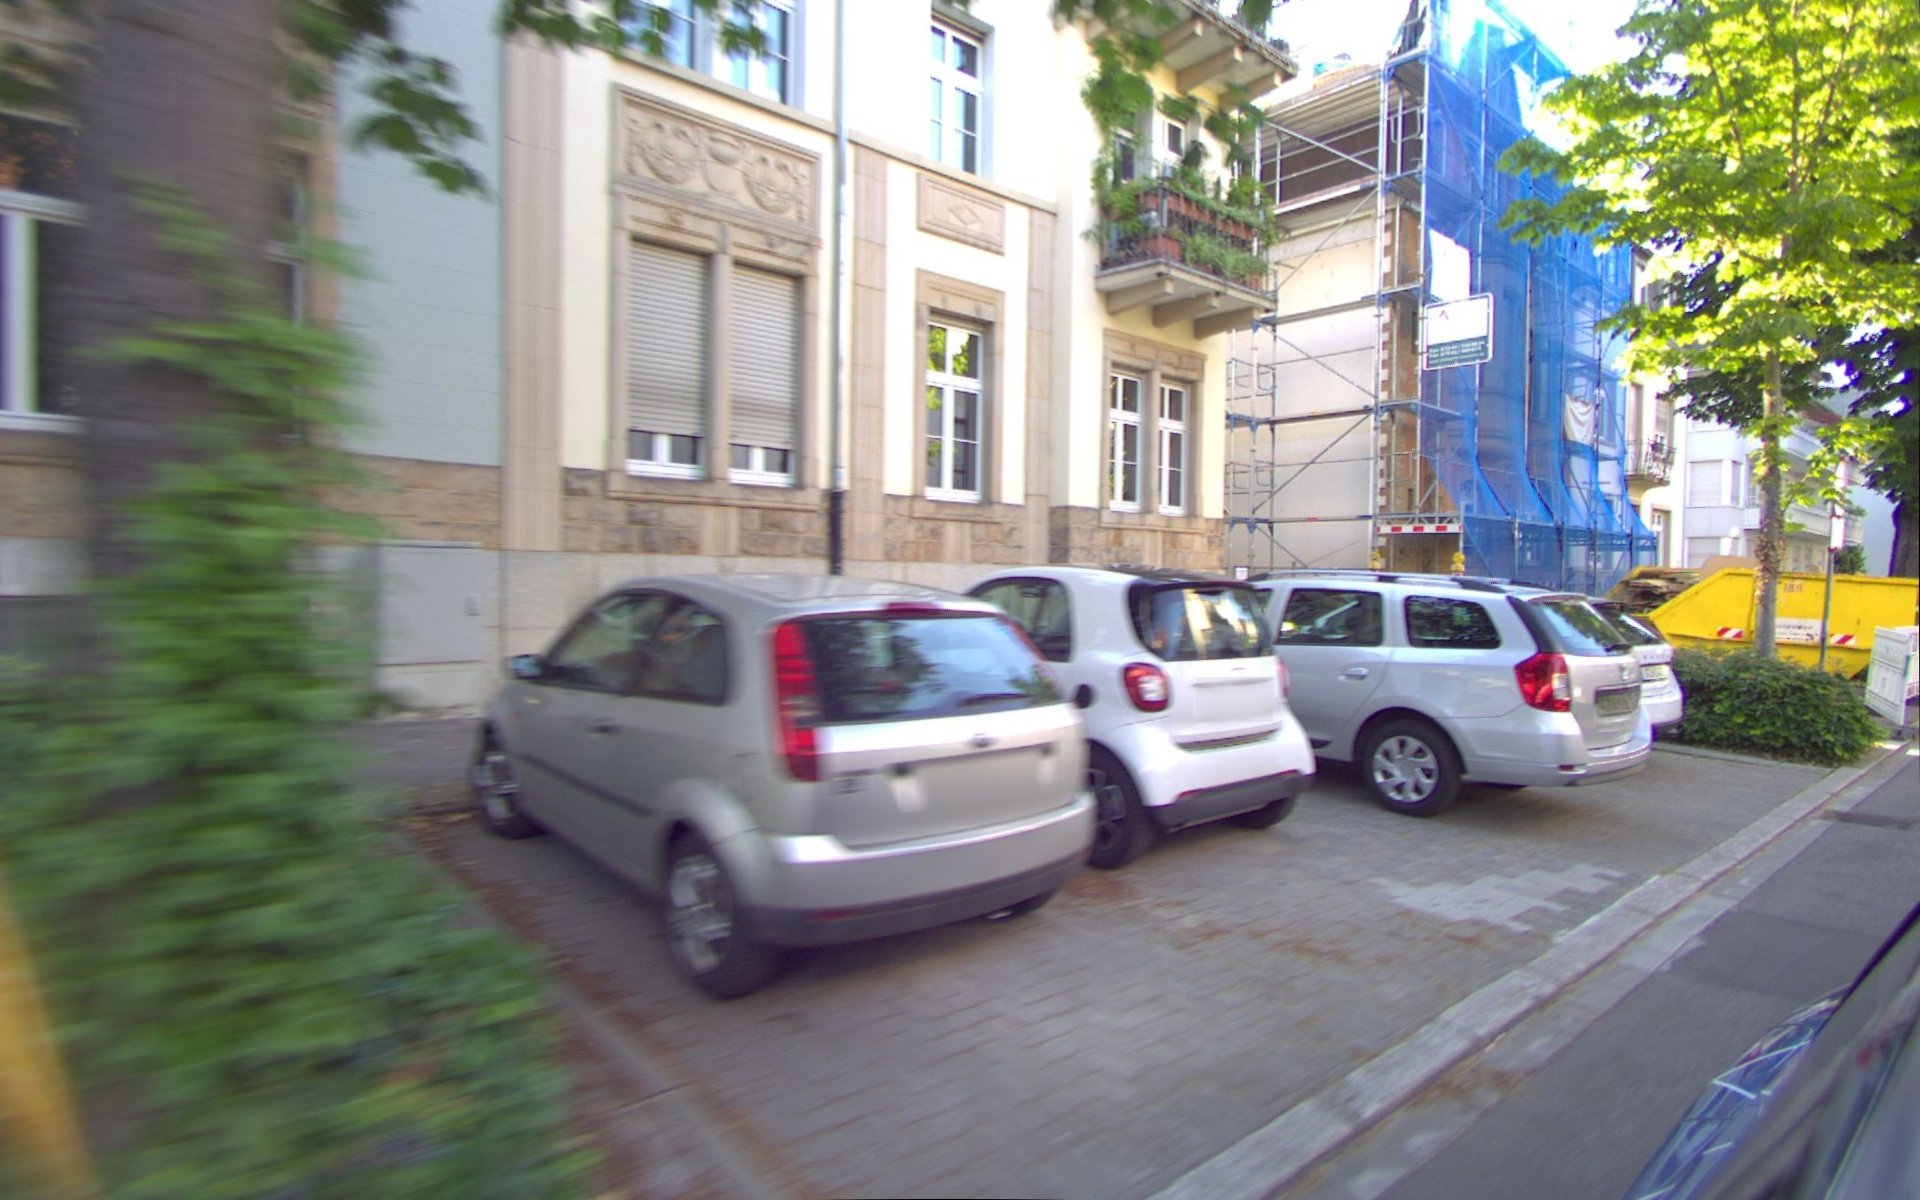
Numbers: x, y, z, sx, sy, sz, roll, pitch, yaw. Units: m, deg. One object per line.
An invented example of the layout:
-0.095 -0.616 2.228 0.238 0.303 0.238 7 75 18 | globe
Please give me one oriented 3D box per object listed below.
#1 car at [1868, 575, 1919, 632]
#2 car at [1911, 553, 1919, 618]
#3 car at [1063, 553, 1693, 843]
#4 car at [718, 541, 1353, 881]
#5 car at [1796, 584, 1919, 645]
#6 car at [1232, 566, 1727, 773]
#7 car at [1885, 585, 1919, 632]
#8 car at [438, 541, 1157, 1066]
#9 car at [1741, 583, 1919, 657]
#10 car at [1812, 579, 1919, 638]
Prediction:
35.761 0.145 36.362 1.864 2.039 4.476 0 1 -42 | car
45.596 -0.562 44.685 2.041 2.938 5.102 0 2 -43 | car
2.851 0.467 7.759 1.656 1.553 4.156 0 3 -38 | car
0.178 0.417 6.927 1.796 1.553 4.324 0 3 -40 | car
26.466 0.405 28.566 1.819 1.558 4.165 0 3 -41 | car
4.714 0.472 9.710 1.655 1.480 3.866 0 3 -35 | car
37.603 0.347 38.004 4.174 1.745 1.739 2 2 43 | car
-1.098 0.493 4.865 1.704 1.480 3.756 0 3 -40 | car
21.142 0.433 23.826 1.817 1.510 3.998 0 3 -39 | car
29.442 0.283 31.450 1.677 1.703 4.338 0 2 -43 | car
